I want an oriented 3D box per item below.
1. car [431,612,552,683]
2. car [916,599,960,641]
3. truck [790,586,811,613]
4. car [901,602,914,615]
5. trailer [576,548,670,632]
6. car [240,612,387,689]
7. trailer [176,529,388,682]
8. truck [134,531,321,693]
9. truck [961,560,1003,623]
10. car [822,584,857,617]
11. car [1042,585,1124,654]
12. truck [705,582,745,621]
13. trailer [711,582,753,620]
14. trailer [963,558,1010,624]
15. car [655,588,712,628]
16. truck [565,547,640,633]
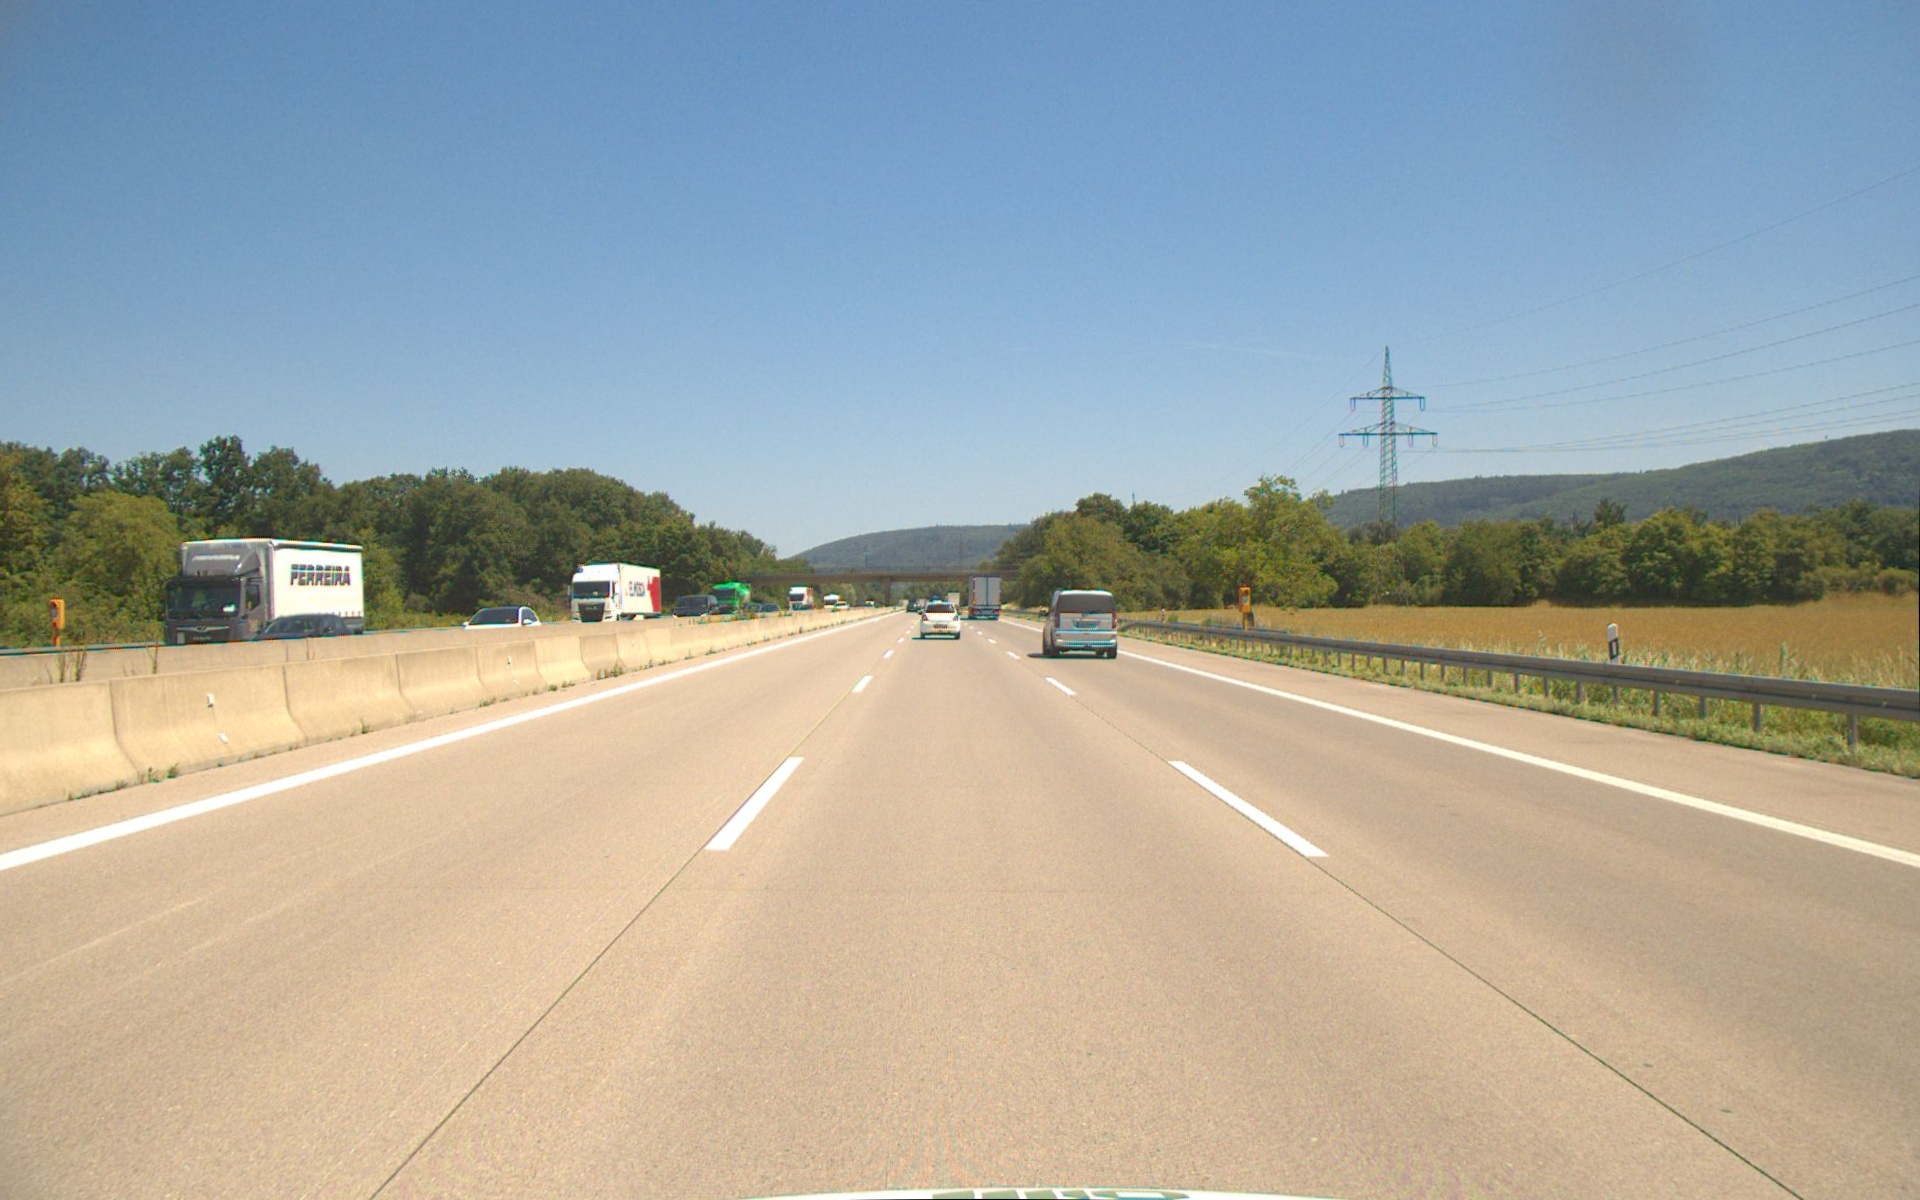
[{"bbox_3d":[-13.115,1.290,46.603,1.953,1.788,5.157,1,0,0],"label":"car"},{"bbox_3d":[-0.941,0.809,69.561,1.782,1.691,3.999,0,0,-1],"label":"car"},{"bbox_3d":[-23.174,-0.083,240.393,2.505,3.916,6.789,1,0,-1],"label":"truck"},{"bbox_3d":[-7.732,1.304,246.109,1.890,1.825,3.999,1,0,-2],"label":"car"},{"bbox_3d":[-21.023,-0.617,104.140,3.019,4.845,14.371,1,0,-1],"label":"trailer"},{"bbox_3d":[-16.566,1.251,42.664,1.953,1.788,4.714,1,0,0],"label":"car"},{"bbox_3d":[-20.249,0.132,50.065,2.893,4.177,8.483,1,0,0],"label":"trailer"},{"bbox_3d":[-20.204,0.312,45.927,2.893,4.200,5.085,1,0,-1],"label":"truck"},{"bbox_3d":[2.149,-0.843,161.507,3.646,5.913,7.050,1,0,-2],"label":"truck"},{"bbox_3d":[-7.338,0.029,100.934,1.954,1.881,3.998,3,0,-2],"label":"car"},{"bbox_3d":[3.496,0.539,47.790,1.953,1.881,3.999,1,0,-2],"label":"car"},{"bbox_3d":[-23.269,0.115,164.072,2.988,3.698,7.975,1,0,-1],"label":"truck"},{"bbox_3d":[-23.416,0.086,170.284,2.988,3.698,11.665,1,0,-1],"label":"trailer"},{"bbox_3d":[2.410,-0.812,155.101,3.646,5.913,12.156,1,0,-2],"label":"trailer"},{"bbox_3d":[-13.095,0.374,78.656,1.953,1.826,4.466,1,0,0],"label":"car"},{"bbox_3d":[-20.964,-0.588,97.387,3.019,4.845,6.497,1,0,-1],"label":"truck"}]
